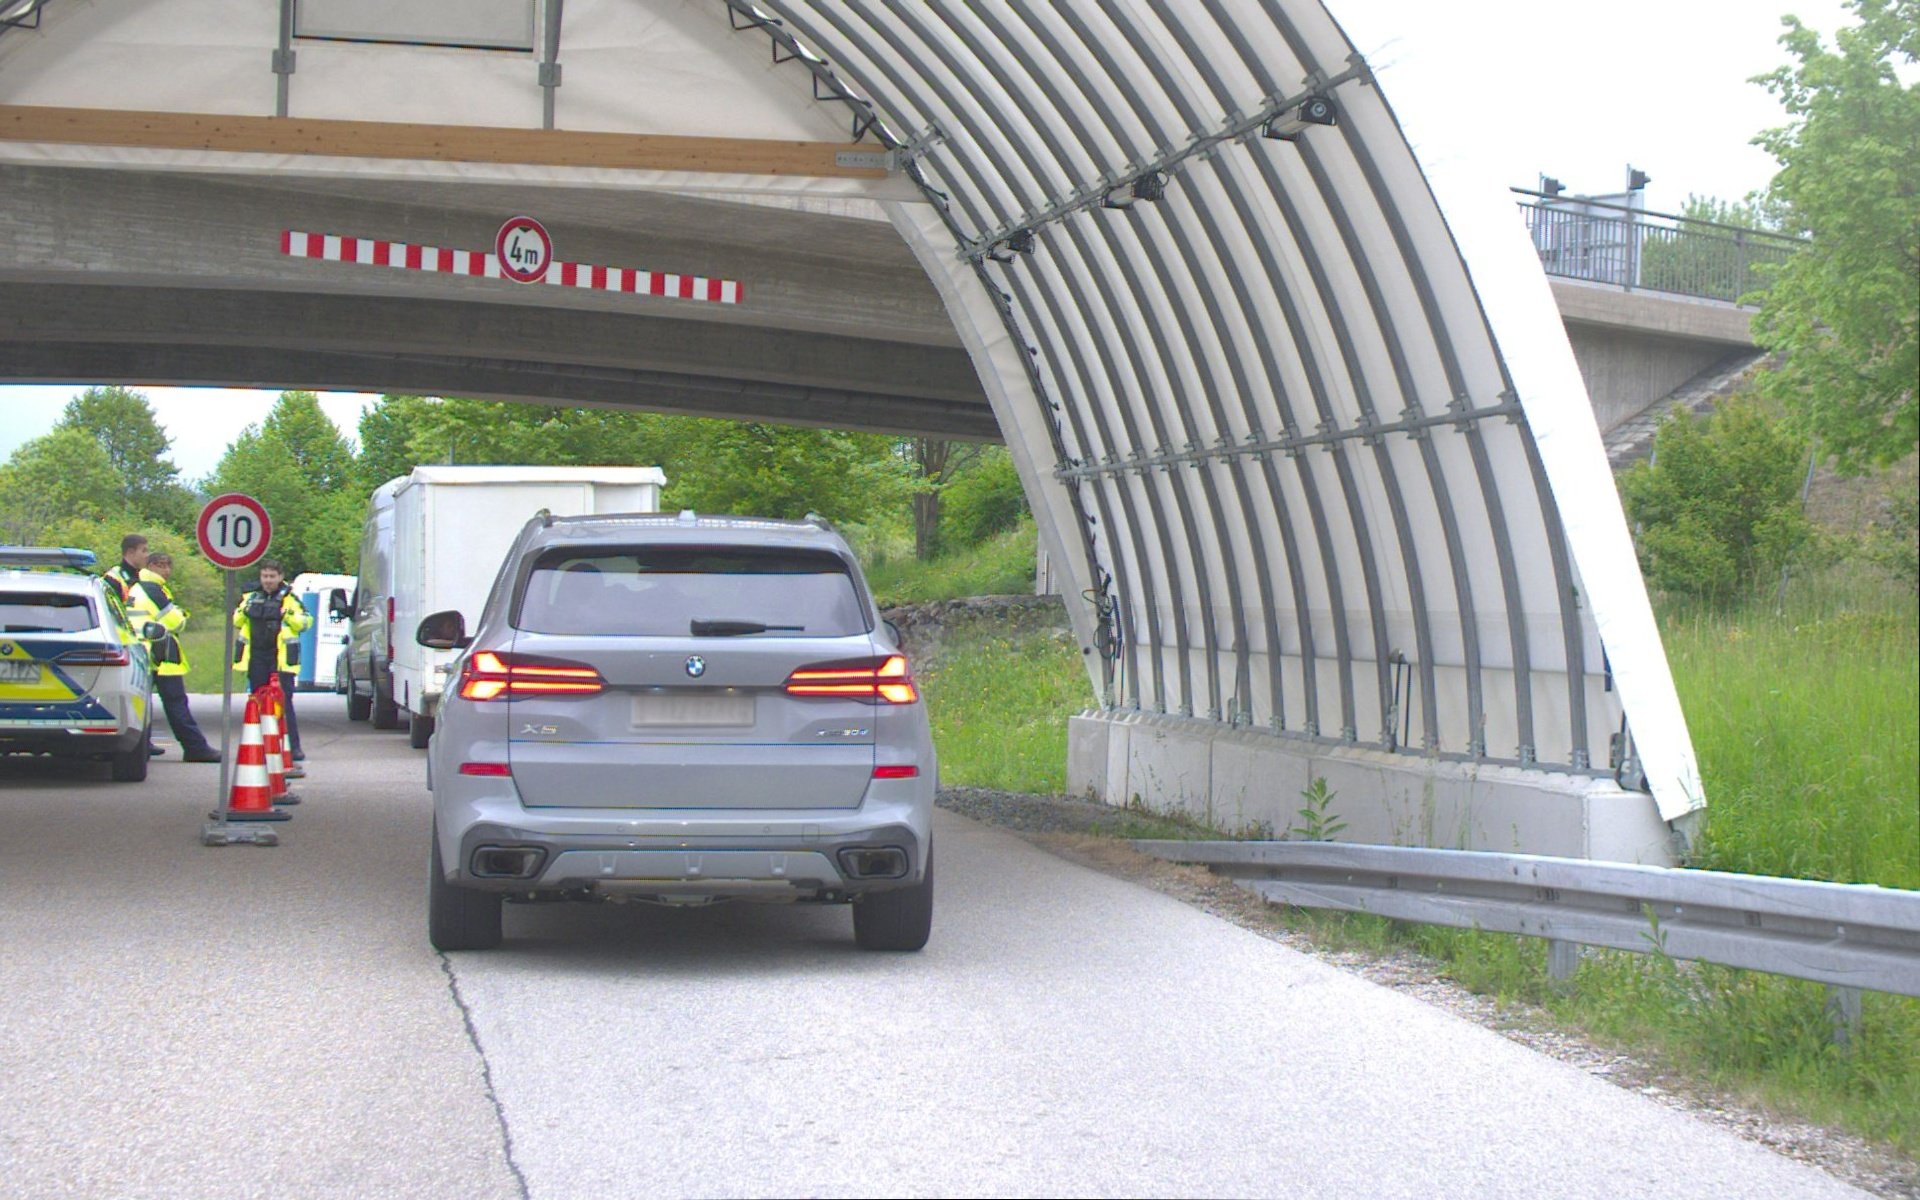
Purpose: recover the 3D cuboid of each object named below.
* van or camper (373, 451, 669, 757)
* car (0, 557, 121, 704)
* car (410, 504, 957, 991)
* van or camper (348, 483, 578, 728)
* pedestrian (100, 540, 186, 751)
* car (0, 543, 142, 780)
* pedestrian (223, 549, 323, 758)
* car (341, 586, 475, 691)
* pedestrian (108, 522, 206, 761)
[{"bbox_3d":[-4.221,0.025,32.053,2.229,2.544,6.612,0,0,-12],"label":"van or camper"},{"bbox_3d":[-14.362,0.411,48.014,4.807,2.007,1.840,0,0,8],"label":"car"},{"bbox_3d":[-1.315,0.525,14.556,1.993,1.759,4.001,0,0,-9],"label":"car"},{"bbox_3d":[-5.586,0.047,38.046,2.103,2.510,5.553,0,0,-13],"label":"van or camper"},{"bbox_3d":[-6.863,0.376,28.901,0.609,1.748,0.666,0,0,-6],"label":"pedestrian"},{"bbox_3d":[-7.118,0.423,25.679,1.877,1.641,4.001,0,0,-14],"label":"car"},{"bbox_3d":[-5.716,0.436,28.591,0.779,1.716,0.757,0,0,-13],"label":"pedestrian"},{"bbox_3d":[-9.373,0.623,58.143,1.993,1.716,3.897,0,0,-13],"label":"car"},{"bbox_3d":[-6.512,0.328,27.864,0.749,1.912,0.763,0,0,-15],"label":"pedestrian"}]
